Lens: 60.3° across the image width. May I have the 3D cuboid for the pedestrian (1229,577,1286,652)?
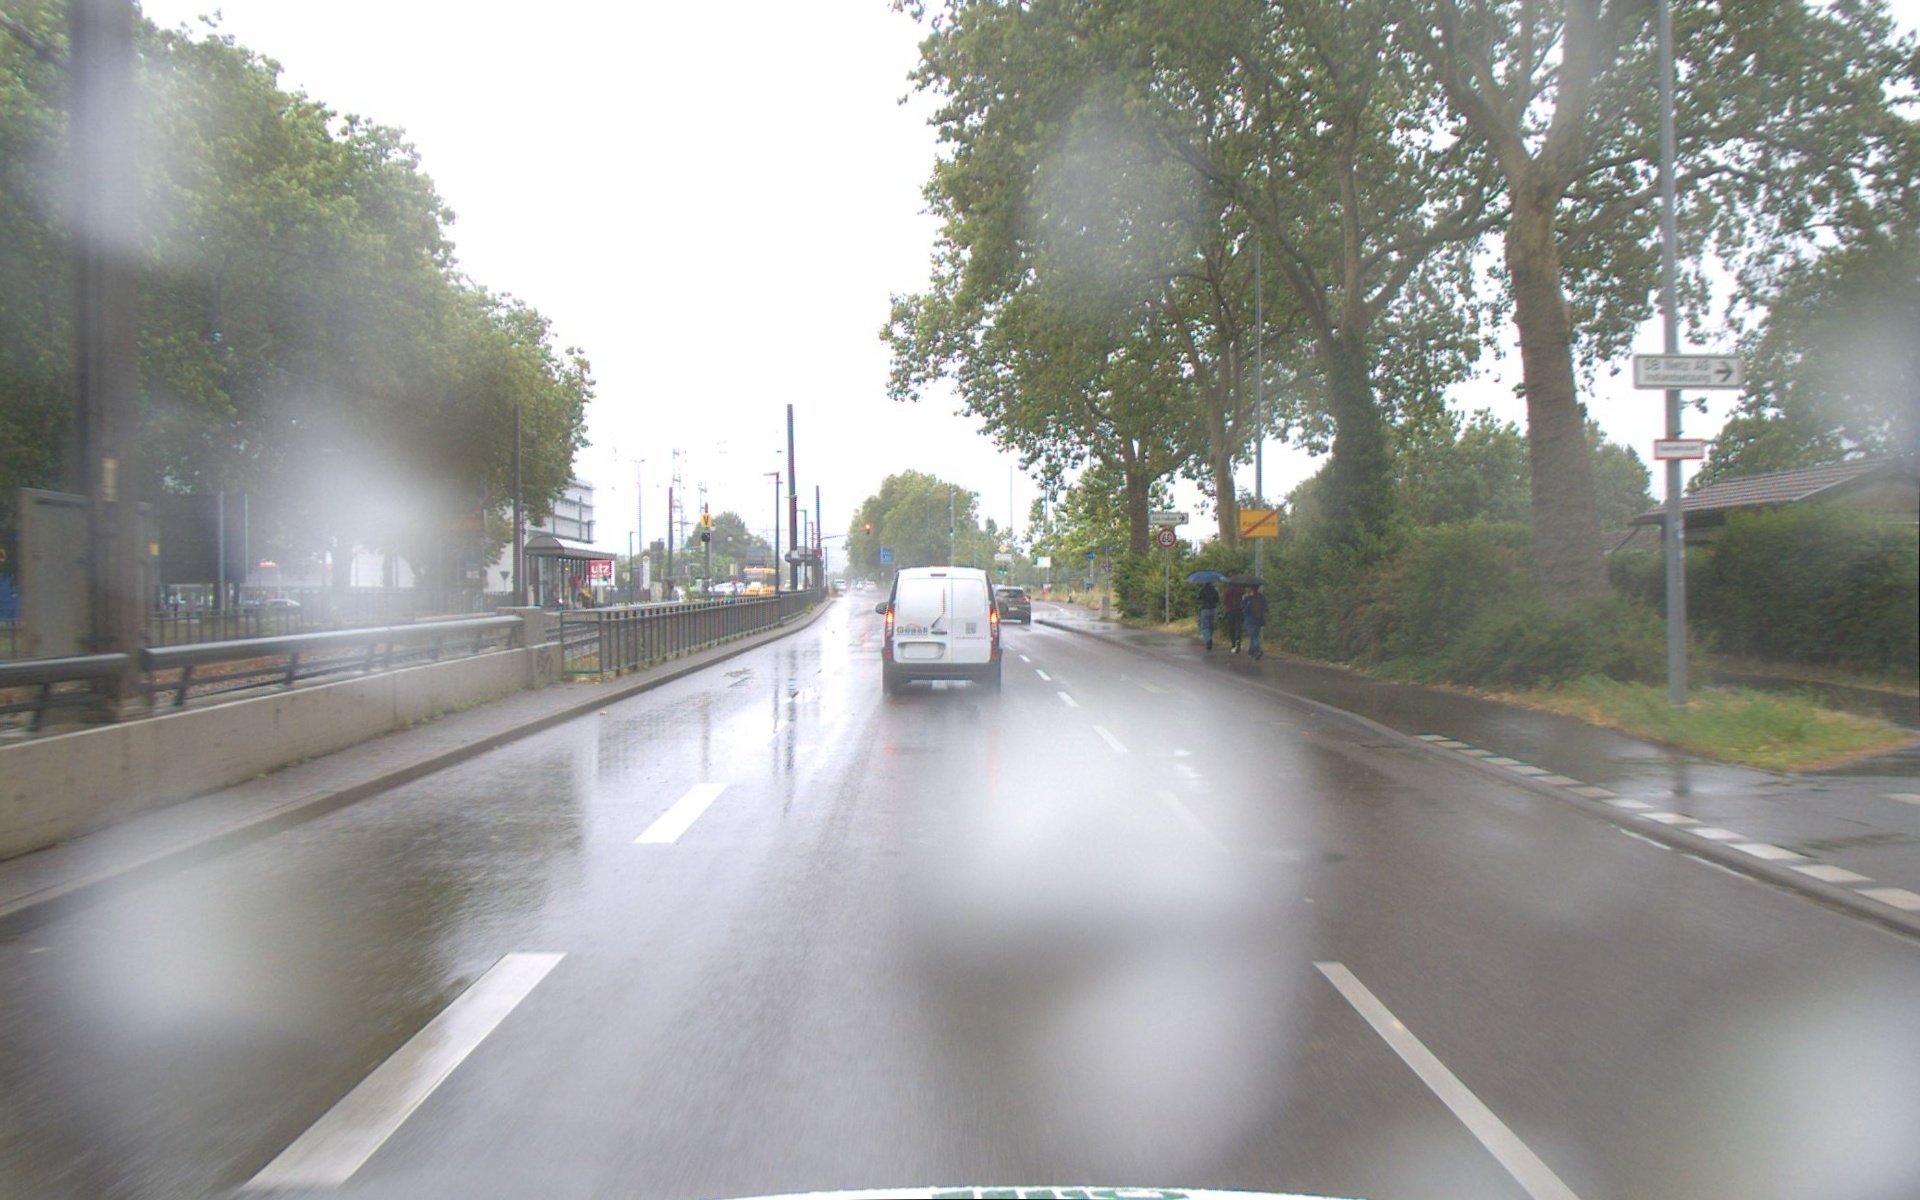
[{"bbox_3d":[5.828,0.284,32.490,0.874,1.415,1.016,-2,-1,-1],"label":"pedestrian"}]

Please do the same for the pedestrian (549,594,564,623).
[{"bbox_3d":[-18.661,0.392,76.504,0.483,1.290,0.664,1,-1,2],"label":"pedestrian"}]

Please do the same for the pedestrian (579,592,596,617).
[{"bbox_3d":[-19.412,0.240,86.252,0.630,1.326,0.814,1,-1,2],"label":"pedestrian"}]

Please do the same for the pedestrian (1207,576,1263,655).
[{"bbox_3d":[5.775,0.324,34.827,0.927,1.617,1.293,-1,-1,-1],"label":"pedestrian"}]

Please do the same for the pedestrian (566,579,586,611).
[{"bbox_3d":[-19.404,-0.254,83.670,0.815,1.589,0.667,2,-1,-28],"label":"pedestrian"}]

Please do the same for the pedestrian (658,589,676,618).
[{"bbox_3d":[-21.018,0.255,118.703,1.066,2.049,1.096,1,-1,0],"label":"pedestrian"}]

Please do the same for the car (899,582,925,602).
[{"bbox_3d":[-4.518,-0.746,154.430,1.956,1.780,3.993,2,-1,-8],"label":"car"}]

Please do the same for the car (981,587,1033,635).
[{"bbox_3d":[1.833,0.457,65.788,1.952,1.780,4.000,1,-1,1],"label":"car"}]

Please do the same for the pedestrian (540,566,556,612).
[{"bbox_3d":[-18.532,-0.494,74.398,0.483,2.049,0.582,1,-1,-1],"label":"pedestrian"}]

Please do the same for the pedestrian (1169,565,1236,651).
[{"bbox_3d":[5.391,0.186,36.847,1.215,1.817,1.147,-4,-1,-1],"label":"pedestrian"}]

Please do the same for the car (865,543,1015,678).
[{"bbox_3d":[-0.392,0.170,24.926,1.985,1.806,4.270,2,-1,-4],"label":"car"}]

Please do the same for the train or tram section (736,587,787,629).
[{"bbox_3d":[-21.131,0.929,178.065,3.695,4.107,27.072,2,-1,-3],"label":"train or tram section"}]

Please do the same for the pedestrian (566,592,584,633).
[{"bbox_3d":[-18.754,0.595,80.586,0.608,1.967,0.814,1,-1,2],"label":"pedestrian"}]
